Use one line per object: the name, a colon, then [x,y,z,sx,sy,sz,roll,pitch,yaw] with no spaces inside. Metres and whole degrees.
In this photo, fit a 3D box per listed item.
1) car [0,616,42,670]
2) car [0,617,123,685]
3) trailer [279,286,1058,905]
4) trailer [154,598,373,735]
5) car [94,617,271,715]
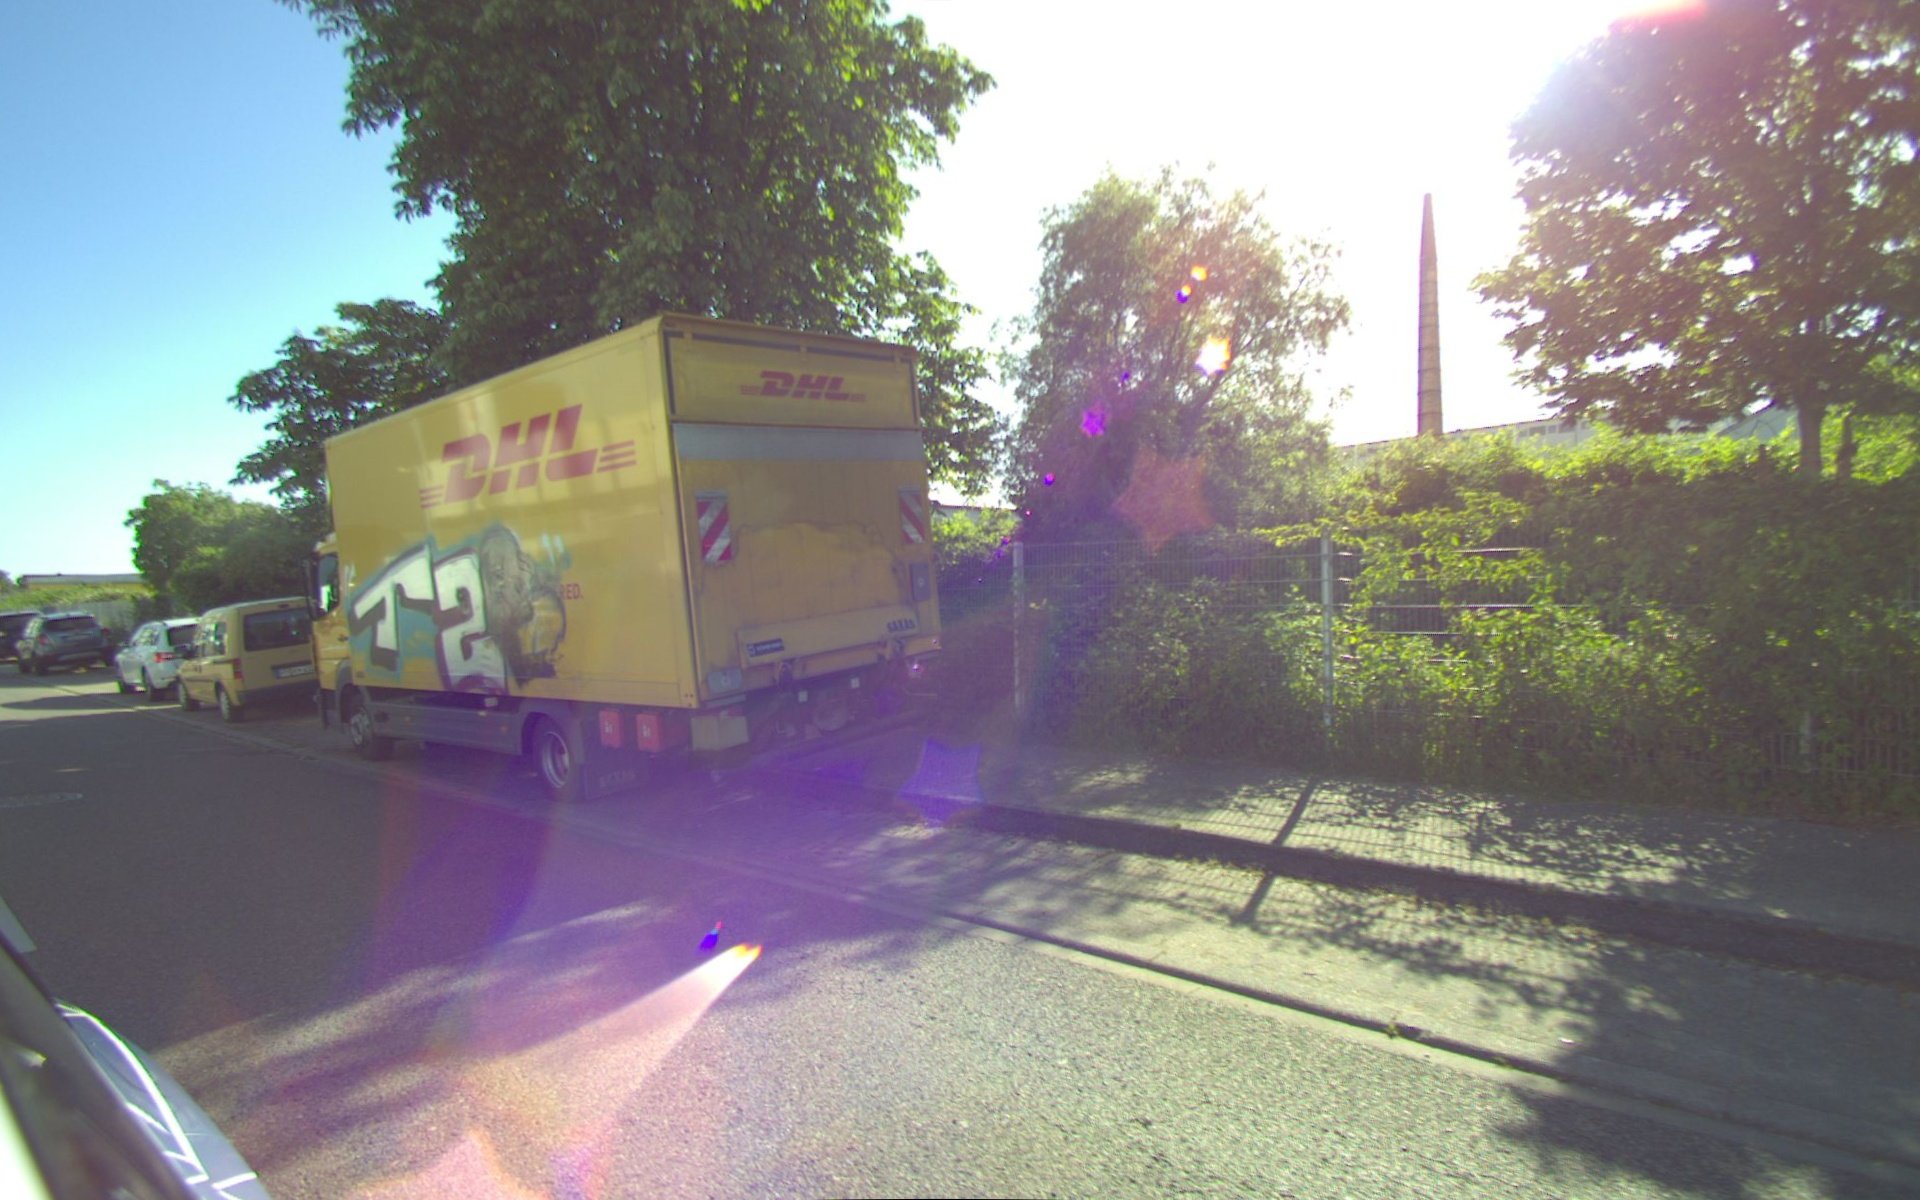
car: [-33.948,1.525,35.724,4.801,1.743,1.773,-2,2,42]
car: [-26.051,1.437,29.270,4.458,1.674,1.890,-2,3,39]
trailer: [-3.308,0.040,9.448,8.155,3.469,2.961,-1,-1,40]
trailer: [-11.507,0.989,16.606,4.413,1.956,1.973,-1,-1,41]
car: [-15.894,1.251,20.583,5.024,1.604,1.888,-2,3,42]
